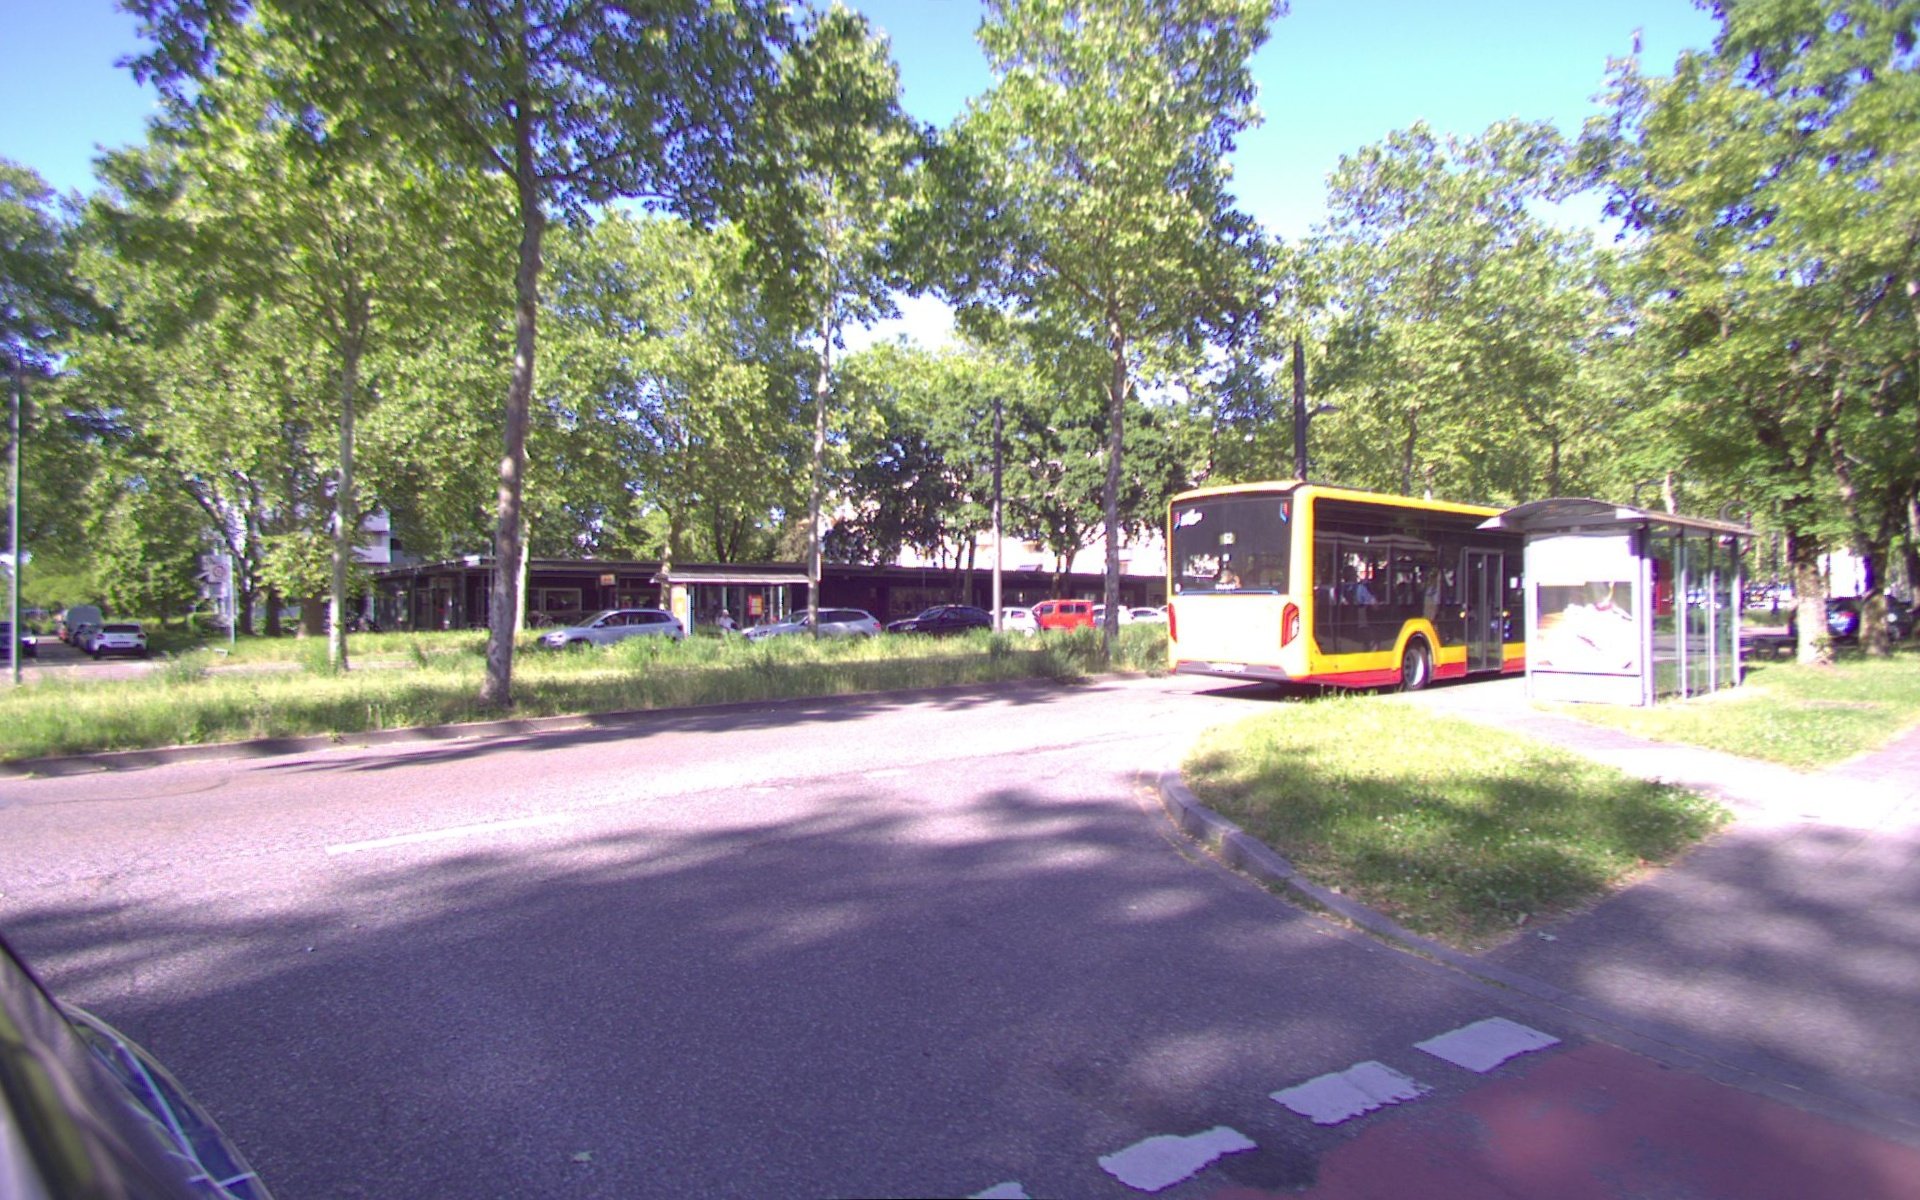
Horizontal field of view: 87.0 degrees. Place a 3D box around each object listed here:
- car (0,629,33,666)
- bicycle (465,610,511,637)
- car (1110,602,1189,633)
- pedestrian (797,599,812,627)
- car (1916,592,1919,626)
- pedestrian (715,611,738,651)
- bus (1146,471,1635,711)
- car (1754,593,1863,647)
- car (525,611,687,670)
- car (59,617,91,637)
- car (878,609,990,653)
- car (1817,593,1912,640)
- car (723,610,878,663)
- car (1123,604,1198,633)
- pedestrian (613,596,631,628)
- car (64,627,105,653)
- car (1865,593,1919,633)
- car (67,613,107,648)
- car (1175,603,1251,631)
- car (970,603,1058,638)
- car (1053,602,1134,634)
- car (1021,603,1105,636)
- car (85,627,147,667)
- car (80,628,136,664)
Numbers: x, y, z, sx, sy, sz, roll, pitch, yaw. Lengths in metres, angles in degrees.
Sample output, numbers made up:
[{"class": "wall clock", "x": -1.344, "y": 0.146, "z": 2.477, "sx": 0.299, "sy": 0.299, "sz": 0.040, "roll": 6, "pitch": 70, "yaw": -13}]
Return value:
[{"class": "car", "x": -40.877, "y": 2.001, "z": 43.285, "sx": 1.773, "sy": 1.522, "sz": 4.004, "roll": 0, "pitch": -1, "yaw": -43}, {"class": "bicycle", "x": -20.845, "y": 1.029, "z": 44.739, "sx": 0.556, "sy": 1.116, "sz": 1.774, "roll": -2, "pitch": -1, "yaw": 44}, {"class": "car", "x": 9.948, "y": 0.927, "z": 53.331, "sx": 3.951, "sy": 1.522, "sz": 1.796, "roll": -1, "pitch": -1, "yaw": 7}, {"class": "pedestrian", "x": -9.309, "y": 0.770, "z": 60.632, "sx": 0.640, "sy": 1.674, "sz": 0.651, "roll": 0, "pitch": -1, "yaw": -42}, {"class": "car", "x": 44.858, "y": 0.384, "z": 45.784, "sx": 3.936, "sy": 1.522, "sz": 1.803, "roll": 0, "pitch": -1, "yaw": -39}, {"class": "pedestrian", "x": -8.695, "y": 1.138, "z": 37.704, "sx": 0.639, "sy": 1.471, "sz": 0.652, "roll": 0, "pitch": -1, "yaw": -36}, {"class": "bus", "x": 8.587, "y": -0.127, "z": 18.731, "sx": 12.021, "sy": 3.291, "sz": 2.915, "roll": 0, "pitch": -1, "yaw": -39}, {"class": "car", "x": 25.947, "y": 0.583, "z": 30.914, "sx": 3.936, "sy": 1.522, "sz": 1.803, "roll": 0, "pitch": -1, "yaw": -39}, {"class": "car", "x": -10.484, "y": 1.160, "z": 30.105, "sx": 4.218, "sy": 1.592, "sz": 1.804, "roll": 0, "pitch": -1, "yaw": -37}, {"class": "car", "x": -73.223, "y": 2.233, "z": 83.725, "sx": 1.837, "sy": 1.522, "sz": 4.004, "roll": 0, "pitch": -1, "yaw": -43}, {"class": "car", "x": -0.962, "y": 1.150, "z": 38.441, "sx": 3.934, "sy": 1.522, "sz": 1.804, "roll": 0, "pitch": -1, "yaw": -36}, {"class": "car", "x": 31.250, "y": 0.542, "z": 34.938, "sx": 3.936, "sy": 1.522, "sz": 1.803, "roll": 0, "pitch": -1, "yaw": -39}, {"class": "car", "x": -5.012, "y": 1.111, "z": 32.221, "sx": 4.601, "sy": 1.522, "sz": 1.803, "roll": 0, "pitch": -1, "yaw": -40}, {"class": "car", "x": 11.018, "y": 0.997, "z": 55.750, "sx": 3.955, "sy": 1.522, "sz": 1.795, "roll": -1, "pitch": -1, "yaw": 10}, {"class": "pedestrian", "x": -17.501, "y": 0.625, "z": 52.368, "sx": 0.640, "sy": 1.674, "sz": 0.651, "roll": 0, "pitch": -1, "yaw": -42}, {"class": "car", "x": -53.305, "y": 2.400, "z": 61.602, "sx": 1.773, "sy": 1.522, "sz": 4.004, "roll": 0, "pitch": -1, "yaw": -43}, {"class": "car", "x": 36.911, "y": 0.497, "z": 39.432, "sx": 3.936, "sy": 1.522, "sz": 1.803, "roll": 0, "pitch": -1, "yaw": -39}, {"class": "car", "x": -63.253, "y": 2.180, "z": 73.294, "sx": 2.031, "sy": 2.455, "sz": 5.014, "roll": 0, "pitch": -1, "yaw": -43}, {"class": "car", "x": 14.343, "y": 0.965, "z": 57.541, "sx": 3.951, "sy": 1.522, "sz": 1.796, "roll": -1, "pitch": -1, "yaw": 7}, {"class": "car", "x": 2.501, "y": 0.958, "z": 46.640, "sx": 3.951, "sy": 1.522, "sz": 1.796, "roll": -1, "pitch": -1, "yaw": 7}, {"class": "car", "x": 6.704, "y": 0.924, "z": 51.134, "sx": 3.951, "sy": 1.522, "sz": 1.796, "roll": -1, "pitch": -1, "yaw": 7}, {"class": "car", "x": 4.959, "y": 0.938, "z": 48.796, "sx": 3.951, "sy": 1.522, "sz": 1.796, "roll": -1, "pitch": -1, "yaw": 7}, {"class": "car", "x": -34.915, "y": 1.899, "z": 41.818, "sx": 1.773, "sy": 1.522, "sz": 4.004, "roll": 0, "pitch": -1, "yaw": -43}, {"class": "car", "x": -38.777, "y": 2.037, "z": 46.031, "sx": 1.773, "sy": 1.522, "sz": 4.004, "roll": 0, "pitch": -1, "yaw": -43}]
